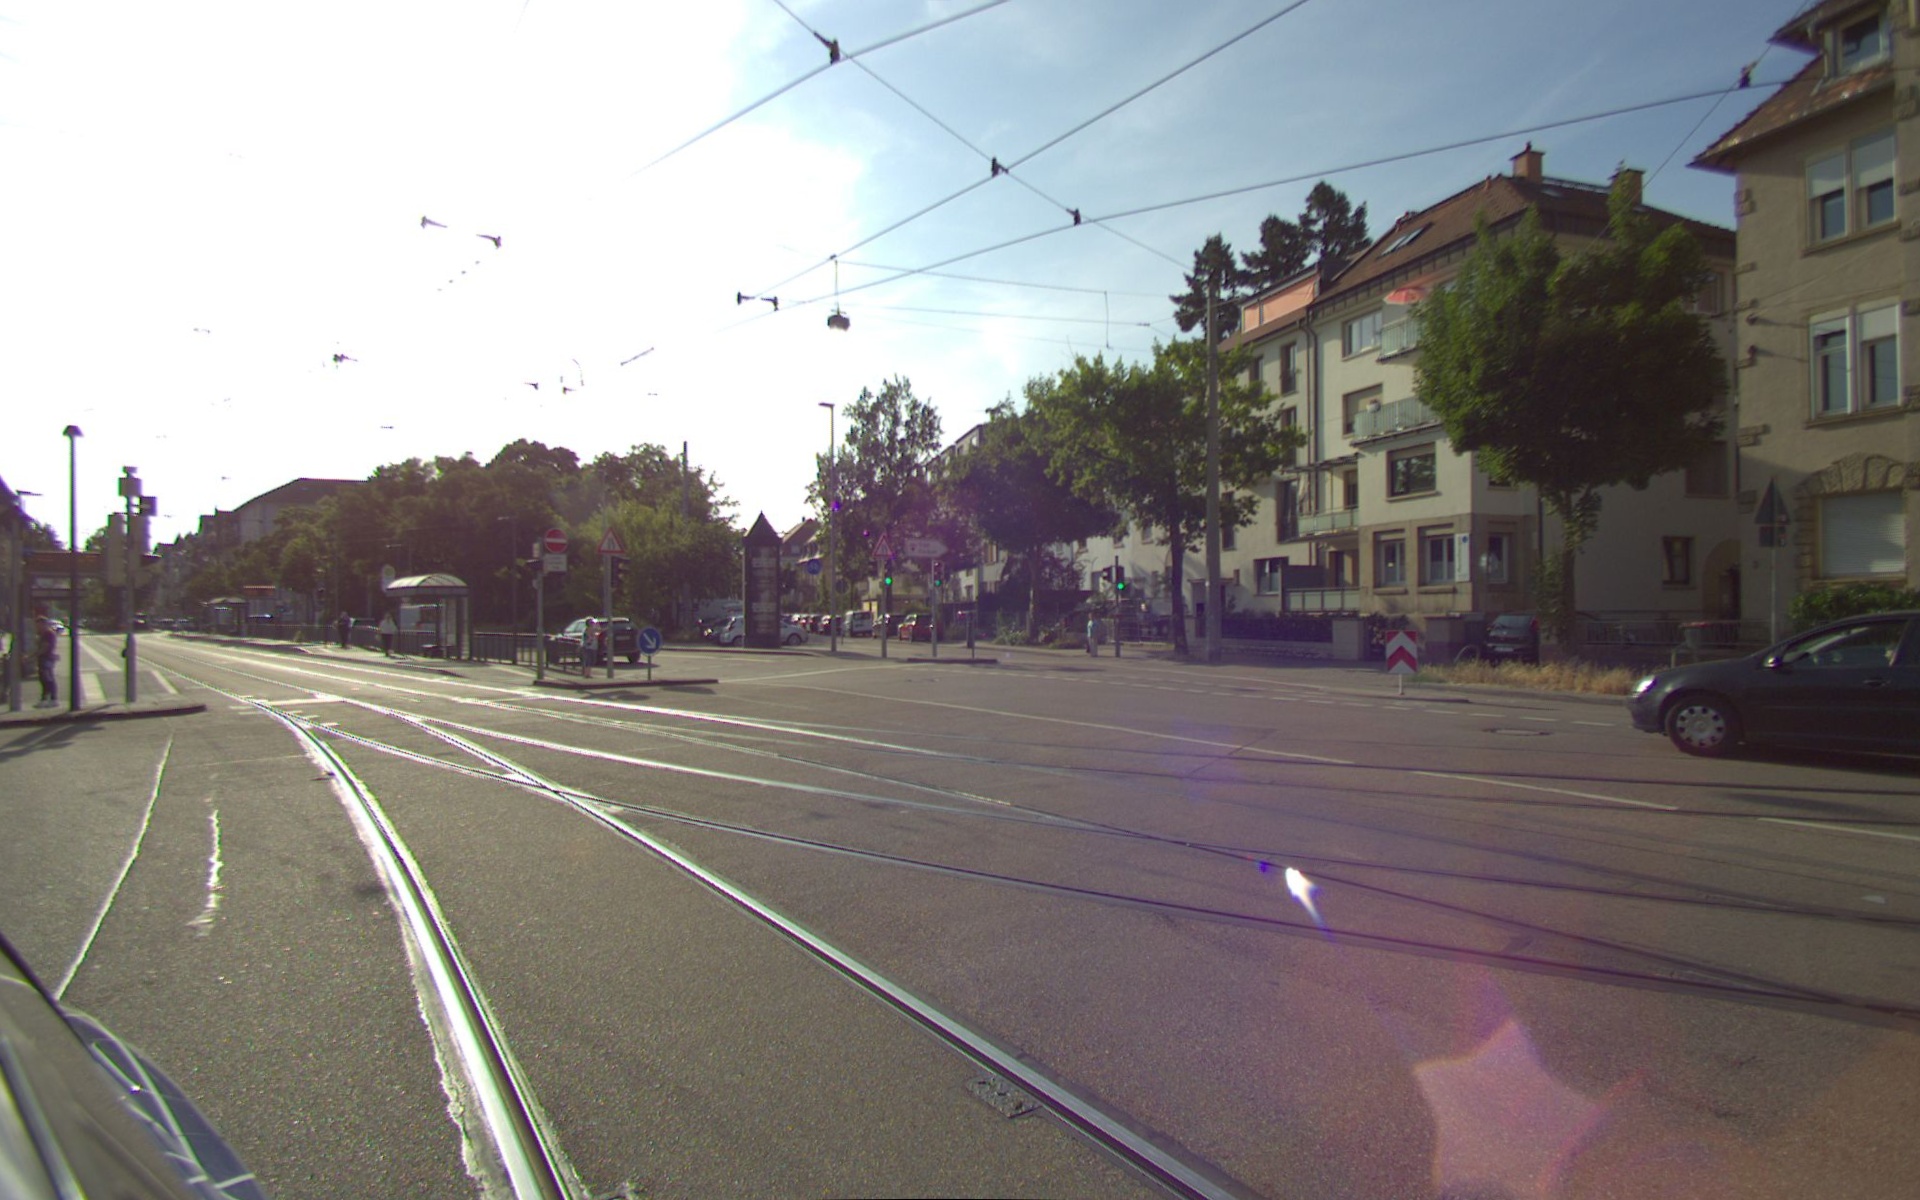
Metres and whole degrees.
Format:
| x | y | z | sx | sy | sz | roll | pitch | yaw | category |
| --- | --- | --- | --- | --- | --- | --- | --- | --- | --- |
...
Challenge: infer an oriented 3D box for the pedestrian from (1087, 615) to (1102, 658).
| x | y | z | sx | sy | sz | roll | pitch | yaw | category |
| --- | --- | --- | --- | --- | --- | --- | --- | --- | --- |
| 4.769 | 1.288 | 35.964 | 0.399 | 1.527 | 0.391 | 0 | -1 | -16 | pedestrian |

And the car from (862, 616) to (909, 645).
| x | y | z | sx | sy | sz | roll | pitch | yaw | category |
| --- | --- | --- | --- | --- | --- | --- | --- | --- | --- |
| -4.329 | 1.726 | 58.304 | 1.787 | 1.585 | 4.012 | 0 | -1 | -19 | car |

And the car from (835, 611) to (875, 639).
| x | y | z | sx | sy | sz | roll | pitch | yaw | category |
| --- | --- | --- | --- | --- | --- | --- | --- | --- | --- |
| -7.088 | 1.694 | 68.186 | 1.787 | 1.813 | 4.012 | 0 | -1 | -19 | car |

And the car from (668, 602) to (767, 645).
| x | y | z | sx | sy | sz | roll | pitch | yaw | category |
| --- | --- | --- | --- | --- | --- | --- | --- | --- | --- |
| -16.829 | 1.592 | 70.269 | 6.488 | 2.830 | 1.778 | -1 | -1 | -21 | car |

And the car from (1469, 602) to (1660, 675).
| x | y | z | sx | sy | sz | roll | pitch | yaw | category |
| --- | --- | --- | --- | --- | --- | --- | --- | --- | --- |
| 14.688 | 0.906 | 24.636 | 3.931 | 1.644 | 1.781 | 0 | -1 | -17 | car |

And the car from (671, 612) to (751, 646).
| x | y | z | sx | sy | sz | roll | pitch | yaw | category |
| --- | --- | --- | --- | --- | --- | --- | --- | --- | --- |
| -13.478 | 1.531 | 54.664 | 3.930 | 1.767 | 1.860 | 0 | -1 | -23 | car |

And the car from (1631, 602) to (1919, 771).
| x | y | z | sx | sy | sz | roll | pitch | yaw | category |
| --- | --- | --- | --- | --- | --- | --- | --- | --- | --- |
| 8.813 | 0.743 | 9.316 | 1.743 | 1.444 | 4.009 | 0 | -1 | -36 | car |

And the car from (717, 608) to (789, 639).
| x | y | z | sx | sy | sz | roll | pitch | yaw | category |
| --- | --- | --- | --- | --- | --- | --- | --- | --- | --- |
| -12.307 | 1.384 | 60.157 | 3.930 | 1.767 | 1.860 | 0 | -1 | -23 | car |

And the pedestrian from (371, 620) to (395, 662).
| x | y | z | sx | sy | sz | roll | pitch | yaw | category |
| --- | --- | --- | --- | --- | --- | --- | --- | --- | --- |
| -22.893 | 1.613 | 40.158 | 0.697 | 1.640 | 0.728 | 0 | -1 | -42 | pedestrian |

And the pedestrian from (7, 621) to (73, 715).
| x | y | z | sx | sy | sz | roll | pitch | yaw | category |
| --- | --- | --- | --- | --- | --- | --- | --- | --- | --- |
| -17.117 | 1.239 | 18.847 | 0.869 | 1.683 | 0.673 | 0 | -1 | -40 | pedestrian |

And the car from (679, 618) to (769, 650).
| x | y | z | sx | sy | sz | roll | pitch | yaw | category |
| --- | --- | --- | --- | --- | --- | --- | --- | --- | --- |
| -11.126 | 1.583 | 47.645 | 3.931 | 1.439 | 1.778 | 0 | -1 | -21 | car |

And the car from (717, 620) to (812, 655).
| x | y | z | sx | sy | sz | roll | pitch | yaw | category |
| --- | --- | --- | --- | --- | --- | --- | --- | --- | --- |
| -8.774 | 1.654 | 45.423 | 3.931 | 1.439 | 1.778 | 0 | -1 | -21 | car |

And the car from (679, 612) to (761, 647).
| x | y | z | sx | sy | sz | roll | pitch | yaw | category |
| --- | --- | --- | --- | --- | --- | --- | --- | --- | --- |
| -12.545 | 1.525 | 52.890 | 3.930 | 1.767 | 1.860 | 0 | -1 | -23 | car |

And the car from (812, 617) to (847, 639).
| x | y | z | sx | sy | sz | roll | pitch | yaw | category |
| --- | --- | --- | --- | --- | --- | --- | --- | --- | --- |
| -9.731 | 2.068 | 75.451 | 1.787 | 1.626 | 4.012 | 0 | -1 | -19 | car |

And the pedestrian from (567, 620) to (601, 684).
| x | y | z | sx | sy | sz | roll | pitch | yaw | category |
| --- | --- | --- | --- | --- | --- | --- | --- | --- | --- |
| -9.691 | 1.326 | 26.097 | 0.716 | 1.601 | 0.583 | -2 | -1 | 44 | pedestrian |

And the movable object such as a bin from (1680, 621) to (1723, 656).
| x | y | z | sx | sy | sz | roll | pitch | yaw | category |
| --- | --- | --- | --- | --- | --- | --- | --- | --- | --- |
| 18.179 | 0.938 | 24.816 | 0.644 | 0.821 | 0.612 | 0 | -1 | -26 | movable object such as a bin |

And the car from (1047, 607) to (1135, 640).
| x | y | z | sx | sy | sz | roll | pitch | yaw | category |
| --- | --- | --- | --- | --- | --- | --- | --- | --- | --- |
| 6.531 | 1.146 | 50.631 | 3.932 | 1.570 | 1.862 | 0 | -1 | -16 | car |

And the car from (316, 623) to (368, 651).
| x | y | z | sx | sy | sz | roll | pitch | yaw | category |
| --- | --- | --- | --- | --- | --- | --- | --- | --- | --- |
| -35.697 | 2.144 | 58.424 | 1.657 | 1.537 | 4.126 | 0 | -3 | -45 | car |

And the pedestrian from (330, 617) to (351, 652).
| x | y | z | sx | sy | sz | roll | pitch | yaw | category |
| --- | --- | --- | --- | --- | --- | --- | --- | --- | --- |
| -29.524 | 1.651 | 48.209 | 0.726 | 1.640 | 0.690 | 0 | -1 | -42 | pedestrian |

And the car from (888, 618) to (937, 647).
| x | y | z | sx | sy | sz | roll | pitch | yaw | category |
| --- | --- | --- | --- | --- | --- | --- | --- | --- | --- |
| -2.525 | 1.679 | 53.296 | 1.523 | 1.437 | 3.877 | -1 | -1 | -19 | car |

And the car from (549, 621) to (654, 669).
| x | y | z | sx | sy | sz | roll | pitch | yaw | category |
| --- | --- | --- | --- | --- | --- | --- | --- | --- | --- |
| -12.354 | 1.558 | 34.693 | 1.745 | 1.506 | 4.750 | 0 | -3 | -41 | car |

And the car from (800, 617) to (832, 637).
| x | y | z | sx | sy | sz | roll | pitch | yaw | category |
| --- | --- | --- | --- | --- | --- | --- | --- | --- | --- |
| -11.570 | 2.139 | 80.955 | 1.787 | 1.549 | 4.012 | 0 | -1 | -19 | car |

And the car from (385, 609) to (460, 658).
| x | y | z | sx | sy | sz | roll | pitch | yaw | category |
| --- | --- | --- | --- | --- | --- | --- | --- | --- | --- |
| -26.207 | 1.611 | 49.245 | 2.150 | 2.256 | 5.261 | 0 | -2 | -40 | car |

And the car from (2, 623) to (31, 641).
| x | y | z | sx | sy | sz | roll | pitch | yaw | category |
| --- | --- | --- | --- | --- | --- | --- | --- | --- | --- |
| -91.472 | 3.092 | 98.098 | 1.970 | 1.697 | 4.003 | 0 | -1 | -44 | car |
